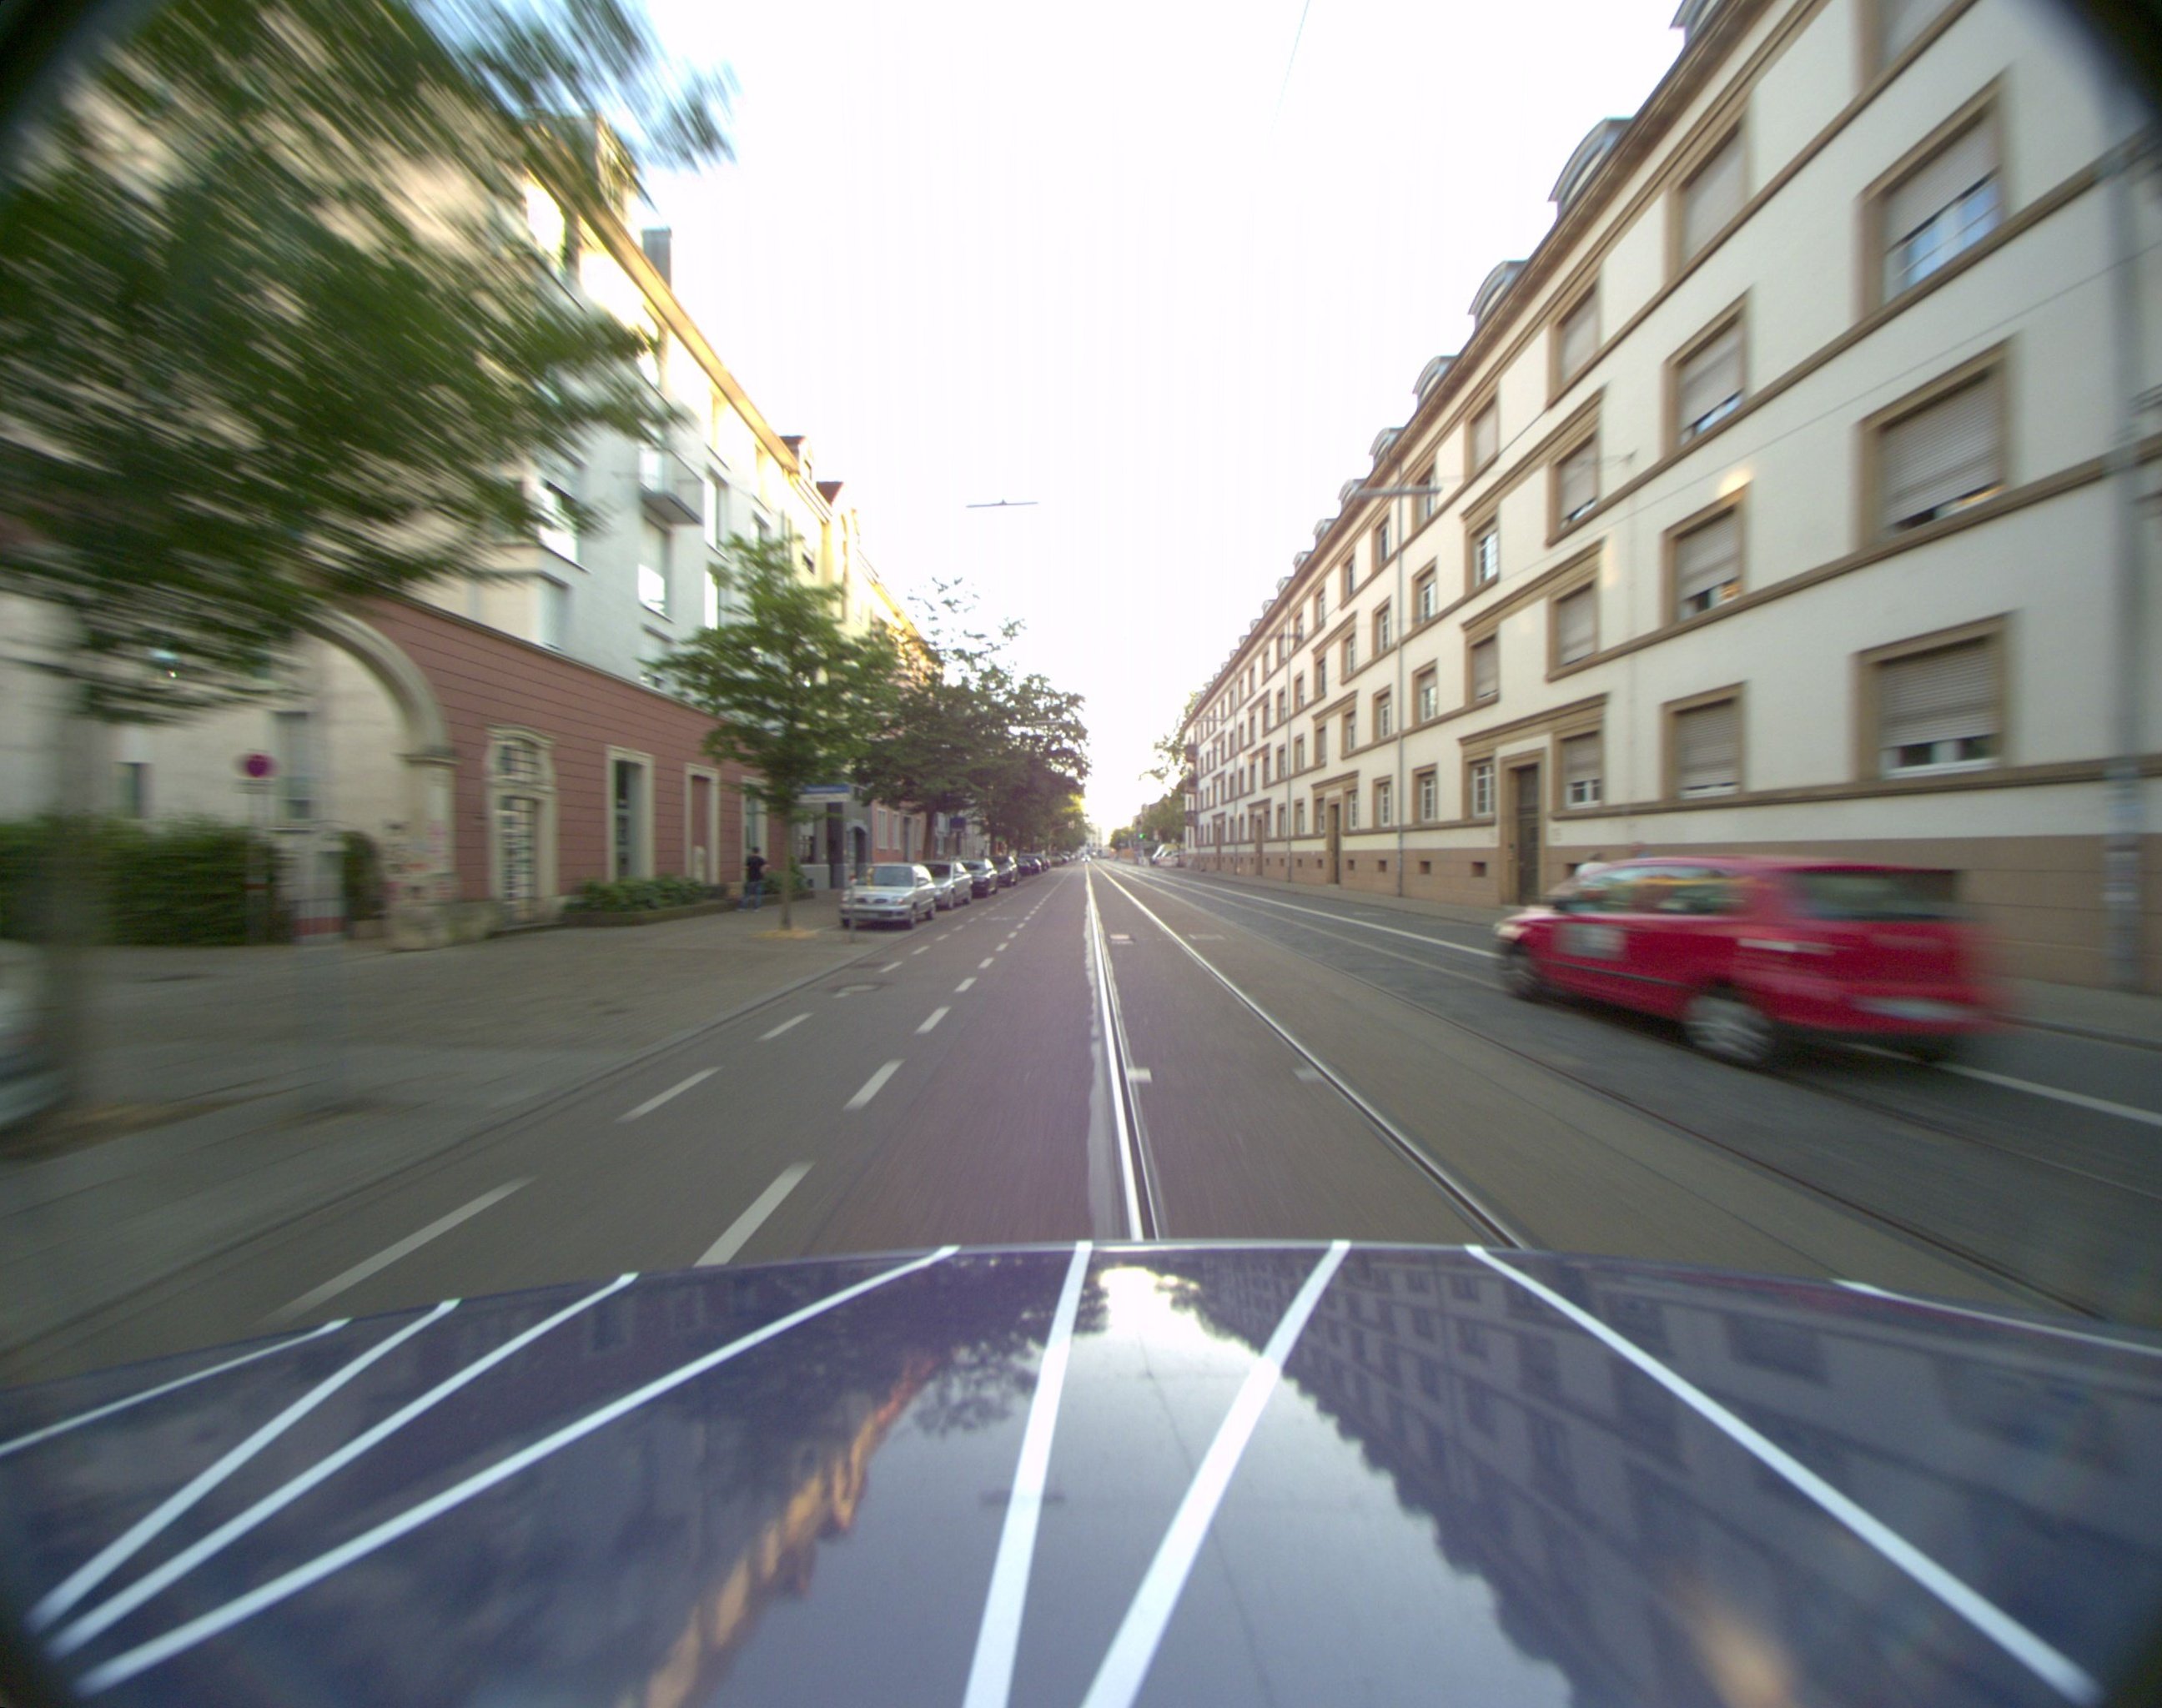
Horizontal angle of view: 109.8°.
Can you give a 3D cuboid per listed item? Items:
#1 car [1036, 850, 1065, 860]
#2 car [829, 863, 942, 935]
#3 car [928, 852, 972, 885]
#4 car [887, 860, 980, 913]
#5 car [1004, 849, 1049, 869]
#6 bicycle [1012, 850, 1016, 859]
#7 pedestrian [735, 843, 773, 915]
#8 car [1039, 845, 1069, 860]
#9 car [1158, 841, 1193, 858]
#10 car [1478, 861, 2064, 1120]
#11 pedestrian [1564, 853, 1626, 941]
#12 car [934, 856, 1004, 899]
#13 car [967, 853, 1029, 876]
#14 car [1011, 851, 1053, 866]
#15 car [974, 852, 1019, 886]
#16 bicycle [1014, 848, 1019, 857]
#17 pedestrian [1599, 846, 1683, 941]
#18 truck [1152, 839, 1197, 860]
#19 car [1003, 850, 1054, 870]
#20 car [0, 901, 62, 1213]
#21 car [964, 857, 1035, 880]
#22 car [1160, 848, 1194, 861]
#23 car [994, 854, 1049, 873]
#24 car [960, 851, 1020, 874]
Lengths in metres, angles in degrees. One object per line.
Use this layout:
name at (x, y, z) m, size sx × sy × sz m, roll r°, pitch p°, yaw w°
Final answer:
car at (-5.158, 0.163, 128.713) m, size 4.643 × 1.508 × 1.806 m, roll 1°, pitch -1°, yaw -26°
car at (-4.425, 0.964, 17.740) m, size 1.623 × 1.373 × 3.775 m, roll 2°, pitch 1°, yaw 0°
car at (-6.793, 0.713, 39.658) m, size 1.885 × 1.575 × 4.018 m, roll 0°, pitch 0°, yaw -4°
car at (-4.456, 0.929, 23.703) m, size 1.784 × 1.373 × 4.691 m, roll 2°, pitch 1°, yaw 3°
car at (-5.247, 0.494, 73.281) m, size 4.004 × 1.805 × 1.821 m, roll 1°, pitch 0°, yaw -21°
bicycle at (-9.213, 0.012, 104.234) m, size 0.471 × 1.203 × 1.586 m, roll -1°, pitch 0°, yaw 0°
pedestrian at (-8.421, 0.631, 19.568) m, size 0.682 × 1.806 × 0.600 m, roll 0°, pitch 1°, yaw 1°
car at (-5.071, -0.317, 141.434) m, size 5.236 × 2.605 × 1.925 m, roll 1°, pitch 1°, yaw -16°
car at (15.222, -0.668, 122.604) m, size 5.233 × 2.582 × 2.229 m, roll -1°, pitch 0°, yaw -3°
car at (5.264, 0.869, 6.588) m, size 1.563 × 1.549 × 3.754 m, roll 1°, pitch 0°, yaw -2°
pedestrian at (9.596, 0.780, 14.220) m, size 0.592 × 1.600 × 0.811 m, roll 0°, pitch 1°, yaw -2°
car at (-4.393, 0.879, 30.497) m, size 1.998 × 1.480 × 5.035 m, roll 1°, pitch 1°, yaw 1°
car at (-5.733, 0.734, 52.473) m, size 3.977 × 1.544 × 1.717 m, roll 1°, pitch -1°, yaw -17°
car at (-5.049, 0.441, 78.881) m, size 4.003 × 1.531 × 1.776 m, roll -1°, pitch 1°, yaw -19°
car at (-4.375, 0.759, 39.964) m, size 1.884 × 1.608 × 4.261 m, roll 2°, pitch 0°, yaw 0°
bicycle at (-9.175, -0.195, 108.022) m, size 0.471 × 1.203 × 1.783 m, roll -1°, pitch 0°, yaw 0°
pedestrian at (10.324, 0.699, 14.045) m, size 0.797 × 1.692 × 0.981 m, roll 0°, pitch 1°, yaw -2°
truck at (15.765, -0.751, 128.348) m, size 7.077 × 3.408 × 2.565 m, roll -1°, pitch 0°, yaw -3°
car at (-4.717, 0.518, 68.069) m, size 4.197 × 1.686 × 1.843 m, roll 1°, pitch 0°, yaw -22°
car at (-6.493, 0.971, 2.445) m, size 3.497 × 1.421 × 1.617 m, roll 0°, pitch 2°, yaw -19°
car at (-5.309, 0.923, 49.605) m, size 4.269 × 1.380 × 1.617 m, roll -1°, pitch 1°, yaw -25°
car at (14.743, 0.048, 116.848) m, size 4.844 × 1.862 × 2.015 m, roll -1°, pitch 0°, yaw 2°
car at (-4.819, 0.755, 61.695) m, size 4.389 × 1.455 × 1.719 m, roll 1°, pitch 0°, yaw -3°
car at (-6.553, 0.652, 54.614) m, size 4.004 × 1.584 × 1.717 m, roll 1°, pitch -1°, yaw -21°
